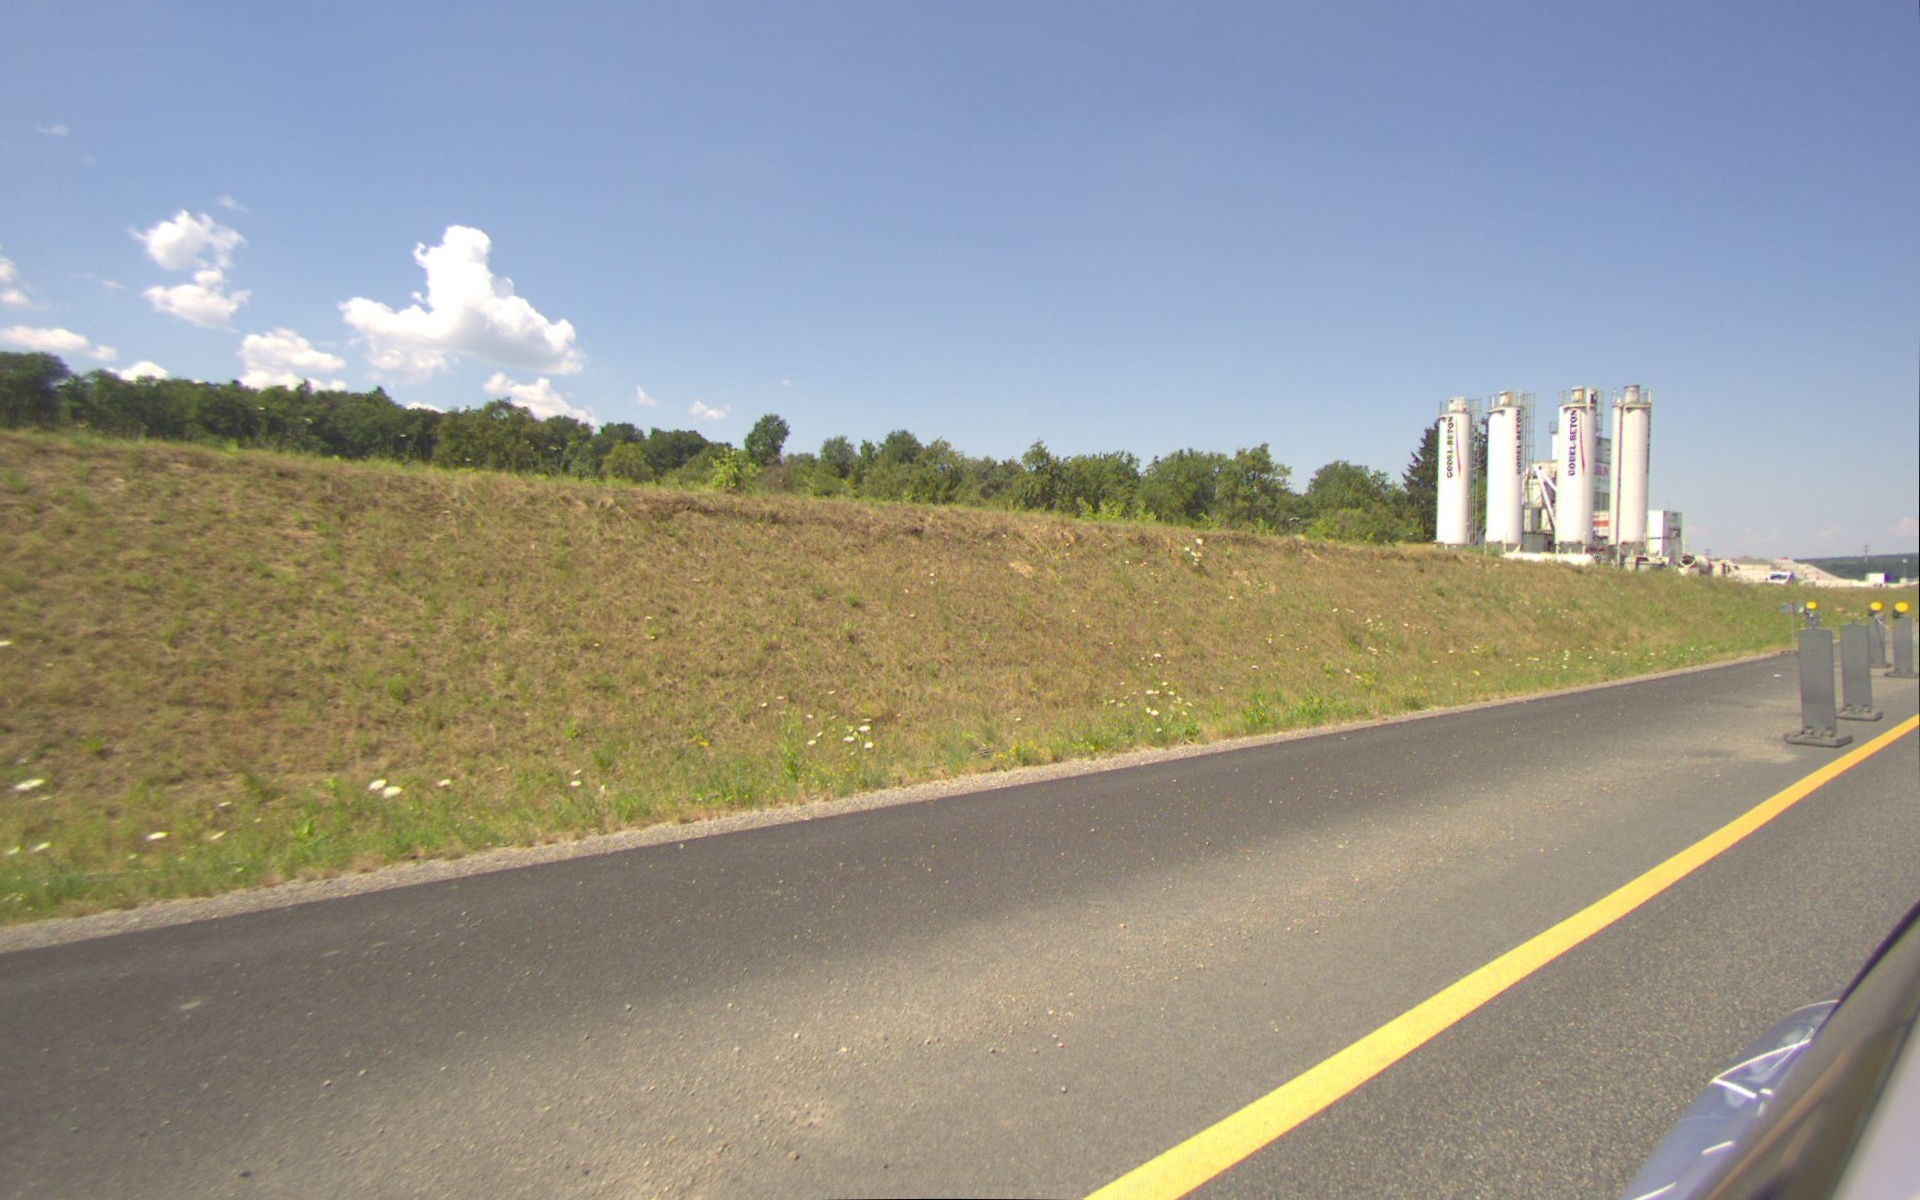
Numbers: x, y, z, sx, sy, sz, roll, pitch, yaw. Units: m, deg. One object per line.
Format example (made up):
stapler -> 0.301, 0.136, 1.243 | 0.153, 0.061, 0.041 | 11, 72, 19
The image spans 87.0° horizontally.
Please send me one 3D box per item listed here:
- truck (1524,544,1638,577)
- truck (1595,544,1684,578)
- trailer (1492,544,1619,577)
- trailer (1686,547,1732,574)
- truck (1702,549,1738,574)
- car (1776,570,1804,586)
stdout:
truck -> 59.206, -3.676, 96.741 | 2.412, 2.904, 9.103 | -1, 0, -34
truck -> 54.591, -3.104, 81.459 | 5.228, 2.576, 2.893 | 0, 0, 13
trailer -> 49.652, -3.222, 84.642 | 2.423, 2.639, 8.903 | -1, 1, -43
trailer -> 77.665, -4.011, 104.910 | 6.809, 2.677, 1.999 | -1, 0, -38
truck -> 80.306, -4.037, 106.951 | 3.967, 2.577, 2.022 | -1, 0, -37
car -> 97.391, -2.567, 118.773 | 3.539, 1.785, 1.989 | -1, 0, -41
